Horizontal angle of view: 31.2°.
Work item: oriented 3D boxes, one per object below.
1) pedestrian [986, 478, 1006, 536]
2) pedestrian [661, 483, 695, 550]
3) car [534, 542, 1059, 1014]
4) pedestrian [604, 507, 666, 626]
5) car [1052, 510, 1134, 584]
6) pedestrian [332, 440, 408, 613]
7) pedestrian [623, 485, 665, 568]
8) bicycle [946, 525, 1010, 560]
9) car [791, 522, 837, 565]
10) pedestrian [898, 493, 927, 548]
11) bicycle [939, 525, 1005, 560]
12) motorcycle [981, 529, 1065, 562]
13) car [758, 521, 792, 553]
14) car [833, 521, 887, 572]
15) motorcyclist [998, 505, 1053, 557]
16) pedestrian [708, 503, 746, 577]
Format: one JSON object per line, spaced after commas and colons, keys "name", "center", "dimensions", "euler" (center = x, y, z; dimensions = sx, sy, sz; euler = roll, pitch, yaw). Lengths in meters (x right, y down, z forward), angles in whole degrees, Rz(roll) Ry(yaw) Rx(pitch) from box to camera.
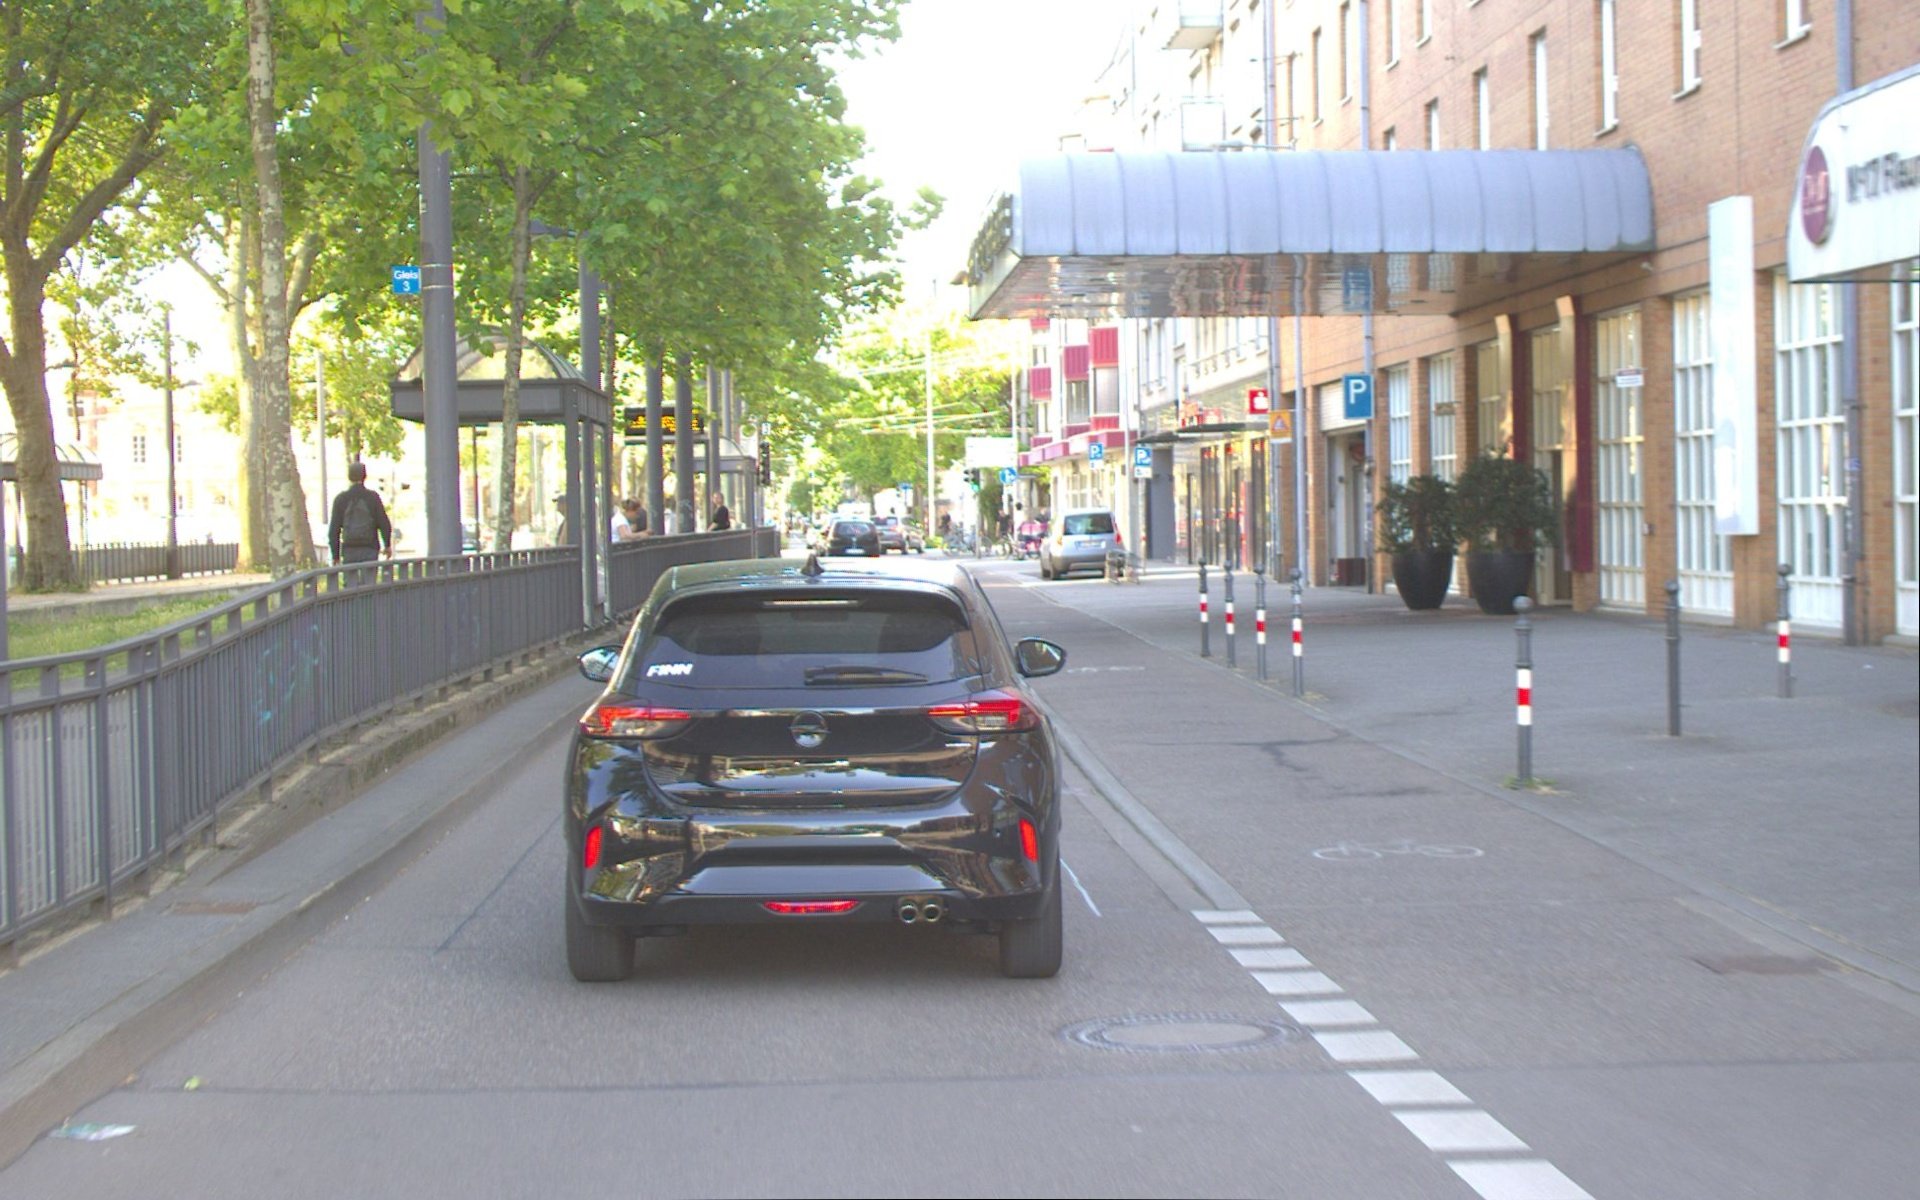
{"name": "pedestrian", "center": [1.799, -4.620, 170.465], "dimensions": [0.917, 2.861, 1.151], "euler": [-1, 2, -2]}
{"name": "pedestrian", "center": [-5.896, -1.742, 71.887], "dimensions": [0.604, 1.360, 0.486], "euler": [-2, 1, -1]}
{"name": "car", "center": [-0.503, 0.538, 12.846], "dimensions": [1.672, 1.496, 3.691], "euler": [0, 1, 1]}
{"name": "pedestrian", "center": [-3.957, -0.415, 41.890], "dimensions": [0.722, 1.439, 0.627], "euler": [-1, 2, -5]}
{"name": "car", "center": [3.021, -1.235, 78.840], "dimensions": [1.672, 1.646, 3.691], "euler": [-1, 2, -1]}
{"name": "pedestrian", "center": [-5.836, -0.725, 34.048], "dimensions": [0.604, 1.674, 0.486], "euler": [-2, 1, -1]}
{"name": "pedestrian", "center": [-5.265, -1.226, 57.233], "dimensions": [0.604, 1.360, 0.486], "euler": [-2, 1, -1]}
{"name": "bicycle", "center": [0.663, -2.102, 125.999], "dimensions": [2.355, 1.229, 0.684], "euler": [-1, 2, 1]}
{"name": "car", "center": [-5.253, -2.046, 123.676], "dimensions": [1.613, 1.496, 3.691], "euler": [-1, 2, -2]}
{"name": "pedestrian", "center": [-2.471, -4.123, 178.170], "dimensions": [1.147, 2.862, 0.920], "euler": [-2, 1, -34]}
{"name": "bicycle", "center": [0.435, -2.070, 124.564], "dimensions": [2.355, 1.229, 0.684], "euler": [-1, 2, 1]}
{"name": "motorcycle", "center": [2.064, -1.793, 112.823], "dimensions": [1.304, 1.055, 3.098], "euler": [-2, 2, -31]}
{"name": "car", "center": [-9.059, -3.087, 168.652], "dimensions": [1.613, 1.496, 3.691], "euler": [-1, 2, -2]}
{"name": "car", "center": [-3.067, -1.641, 104.785], "dimensions": [1.613, 1.496, 3.691], "euler": [-1, 2, -2]}
{"name": "motorcyclist", "center": [2.145, -2.269, 112.683], "dimensions": [1.304, 1.692, 1.237], "euler": [-2, 2, -31]}
{"name": "pedestrian", "center": [-4.553, -1.175, 67.193], "dimensions": [0.722, 1.439, 0.627], "euler": [-1, 2, -5]}
